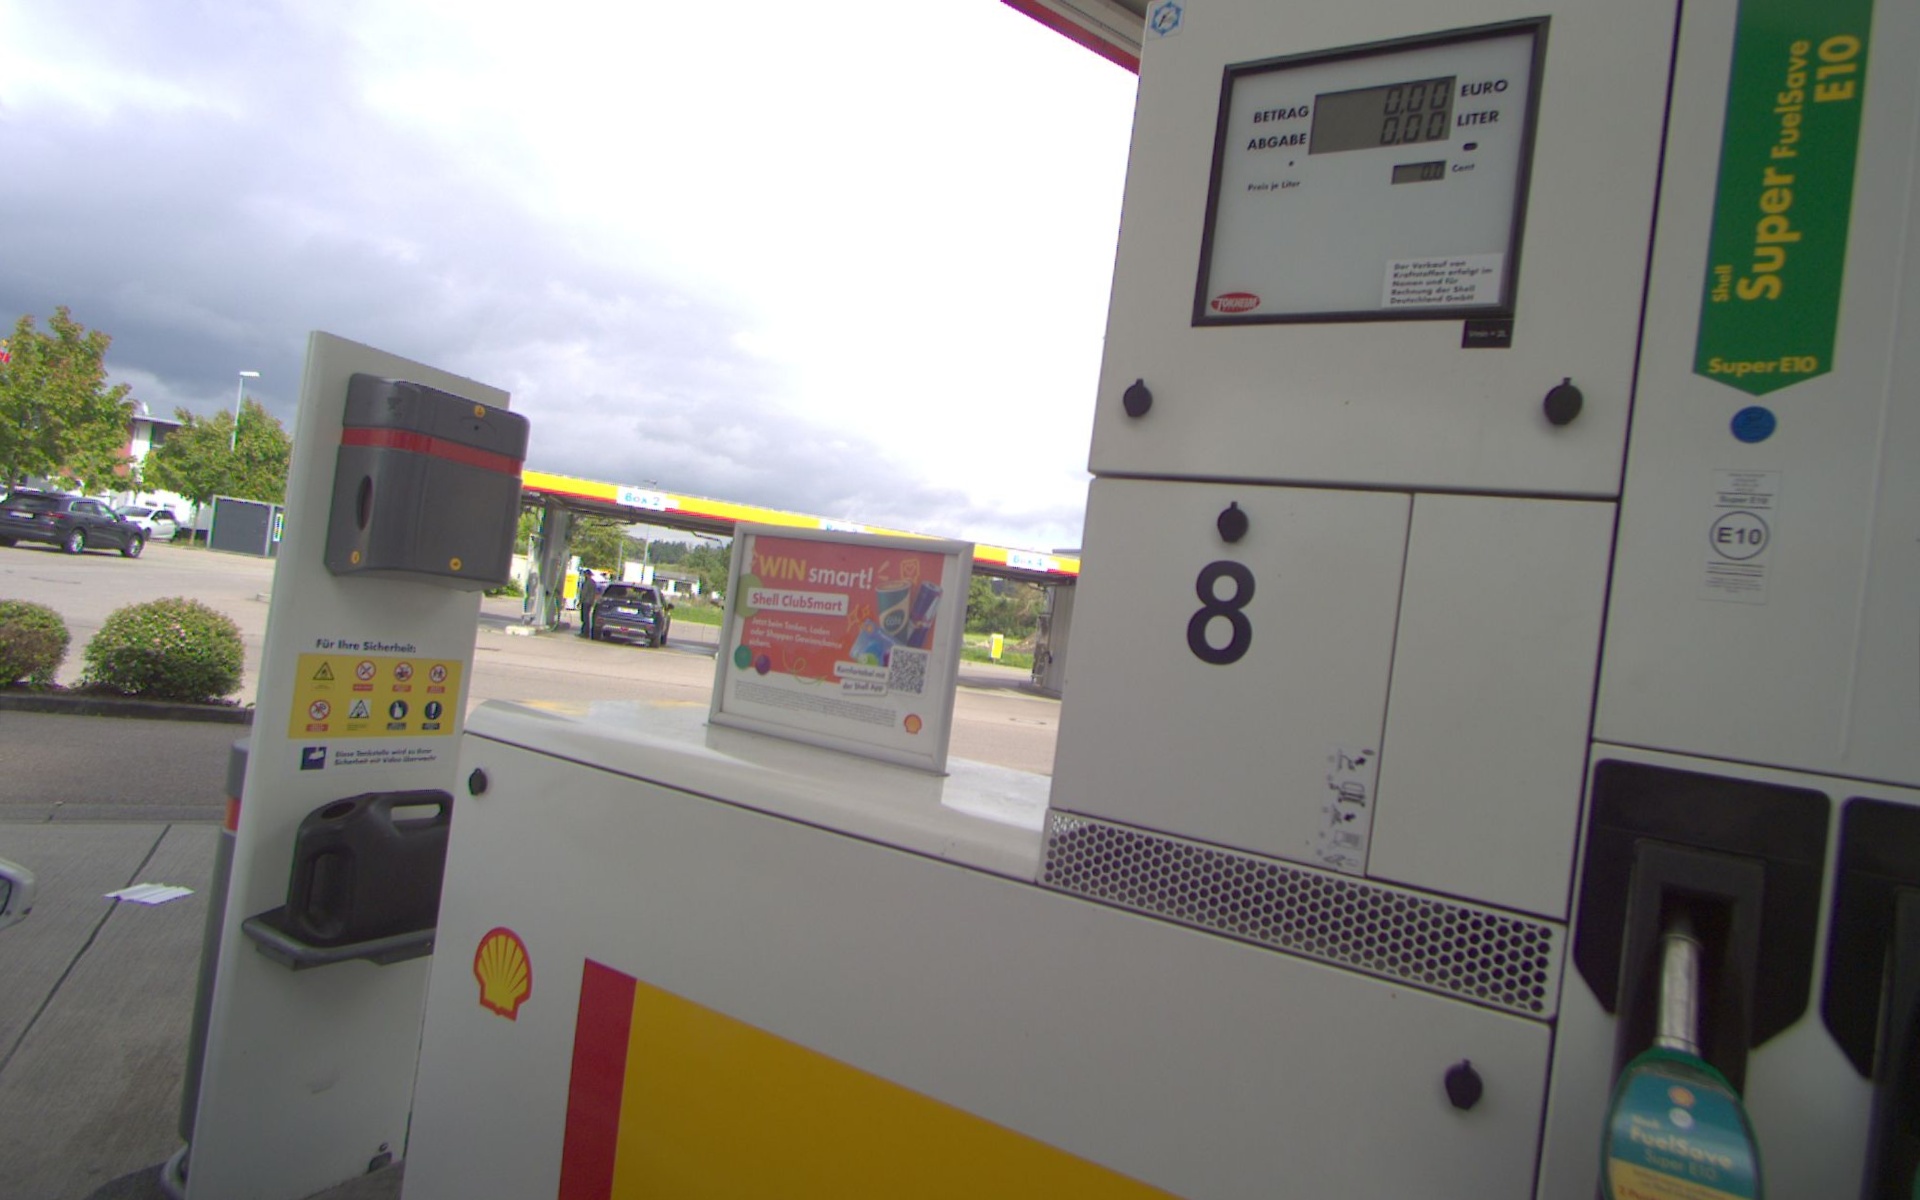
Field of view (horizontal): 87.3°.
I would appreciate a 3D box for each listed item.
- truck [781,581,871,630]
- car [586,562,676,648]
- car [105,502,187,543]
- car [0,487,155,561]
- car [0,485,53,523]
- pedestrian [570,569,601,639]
[{"bbox_3d":[-13.014,0.565,97.517,7.978,3.575,2.687,8,-2,-19],"label":"truck"},{"bbox_3d":[-8.700,0.152,26.872,1.696,1.919,3.800,8,-2,-12],"label":"car"},{"bbox_3d":[-35.260,-3.340,43.658,1.346,1.322,3.098,8,-2,-12],"label":"car"},{"bbox_3d":[-25.931,-2.168,29.272,1.855,1.566,4.498,8,-2,-10],"label":"car"},{"bbox_3d":[-57.360,-5.904,60.255,2.149,1.854,4.870,8,-2,-11],"label":"car"},{"bbox_3d":[-9.718,0.099,26.099,0.550,1.742,0.526,7,-1,-21],"label":"pedestrian"}]
